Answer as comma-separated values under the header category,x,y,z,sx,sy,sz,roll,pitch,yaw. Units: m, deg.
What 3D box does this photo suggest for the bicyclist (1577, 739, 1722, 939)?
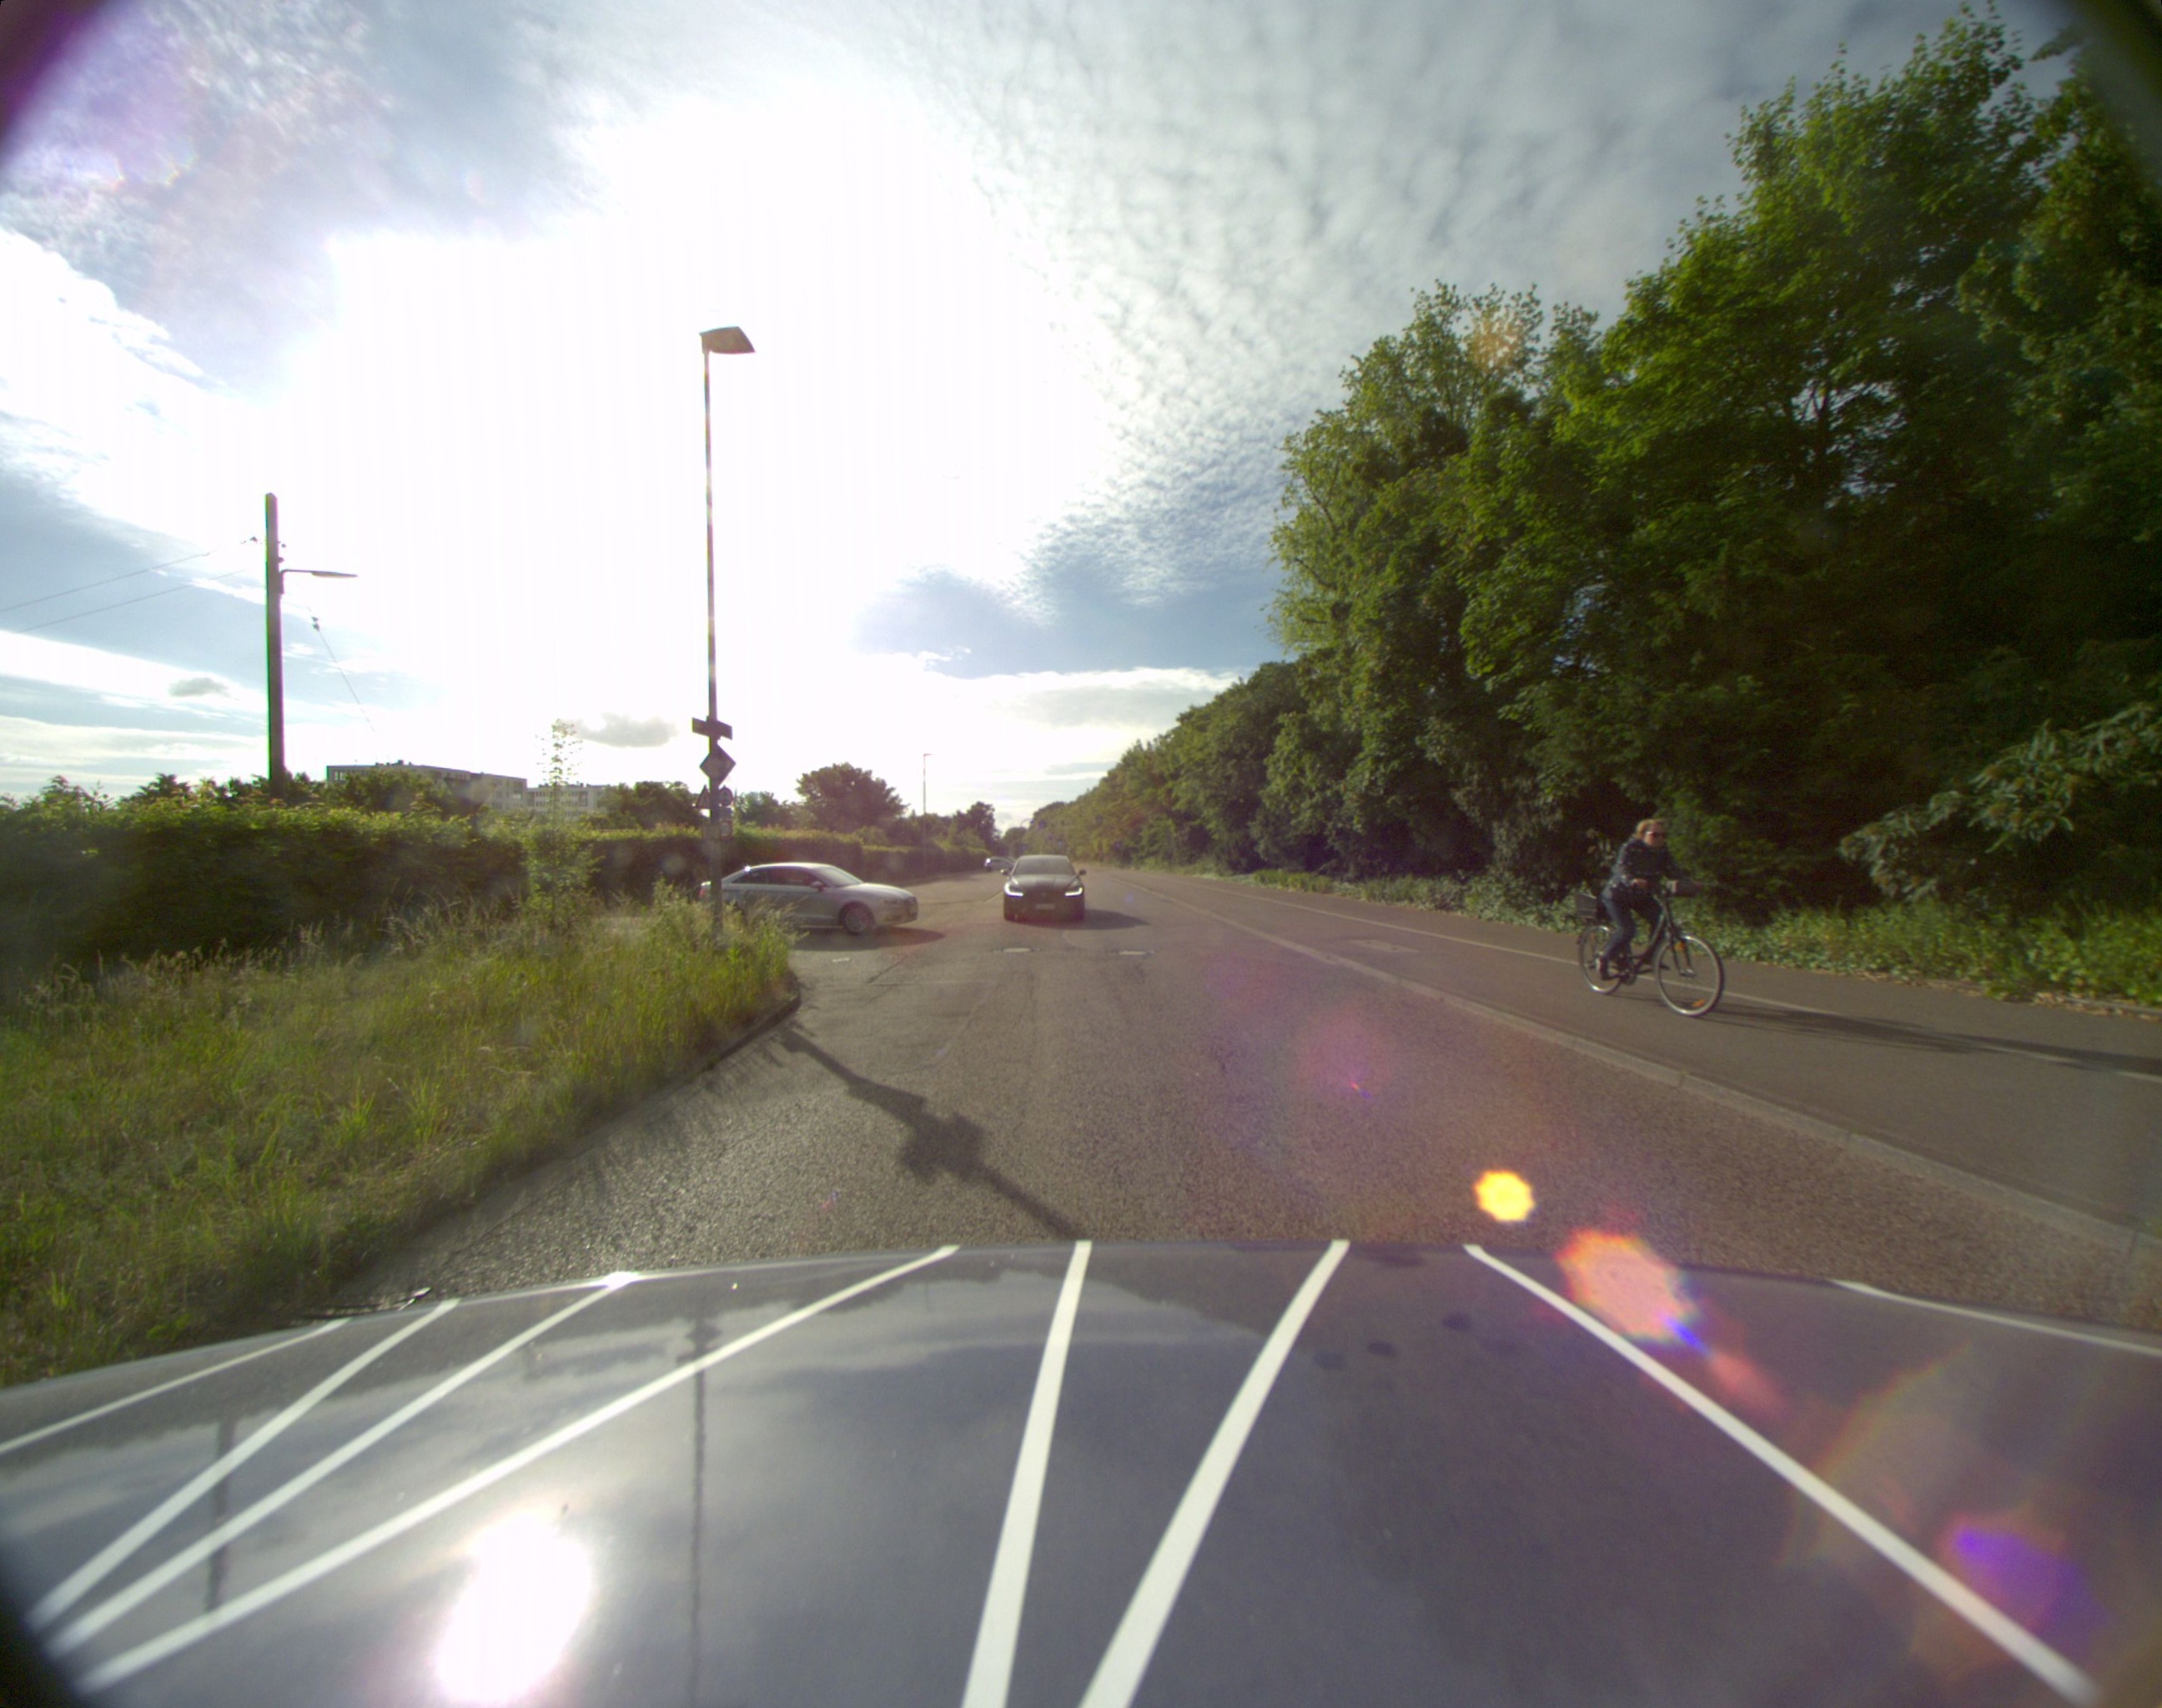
category,x,y,z,sx,sy,sz,roll,pitch,yaw
bicyclist,5.098,-0.134,6.866,0.610,1.667,0.883,-3,2,-1

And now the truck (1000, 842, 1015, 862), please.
category,x,y,z,sx,sy,sz,roll,pitch,yaw
truck,-15.657,-0.442,160.968,2.604,3.935,6.277,2,0,-10

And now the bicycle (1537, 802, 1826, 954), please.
category,x,y,z,sx,sy,sz,roll,pitch,yaw
bicycle,5.113,0.157,6.745,0.664,1.091,2.348,-2,1,-1

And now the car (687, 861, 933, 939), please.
category,x,y,z,sx,sy,sz,roll,pitch,yaw
car,-5.482,0.898,15.722,4.371,1.435,1.933,0,2,6

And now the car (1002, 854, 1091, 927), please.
category,x,y,z,sx,sy,sz,roll,pitch,yaw
car,-0.874,0.799,19.092,1.937,1.501,4.678,-1,1,-3

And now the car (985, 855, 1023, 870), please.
category,x,y,z,sx,sy,sz,roll,pitch,yaw
car,-8.171,0.910,80.855,3.868,1.481,1.692,2,0,-3

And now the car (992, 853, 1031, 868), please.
category,x,y,z,sx,sy,sz,roll,pitch,yaw
car,-8.367,0.767,91.522,4.600,1.690,1.762,0,1,-1
